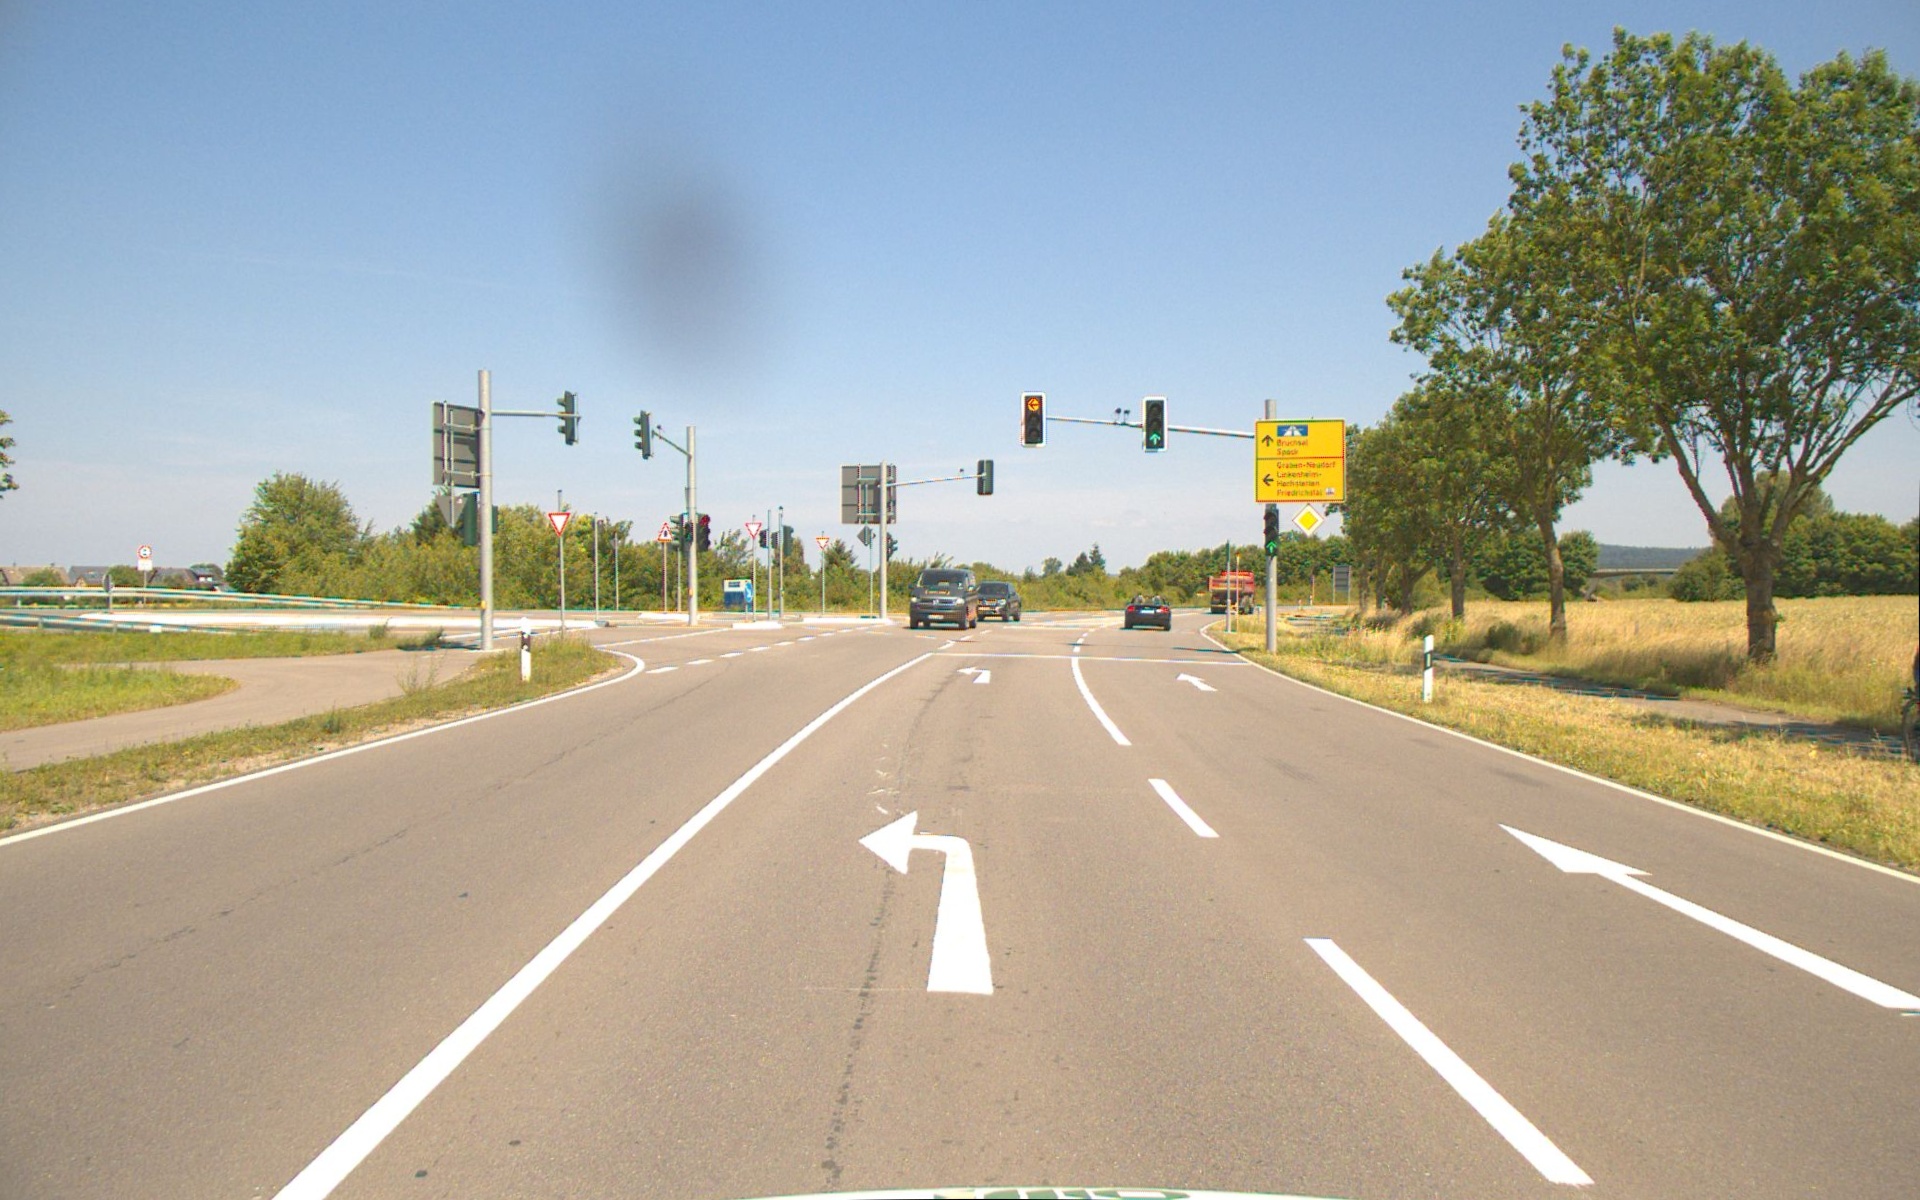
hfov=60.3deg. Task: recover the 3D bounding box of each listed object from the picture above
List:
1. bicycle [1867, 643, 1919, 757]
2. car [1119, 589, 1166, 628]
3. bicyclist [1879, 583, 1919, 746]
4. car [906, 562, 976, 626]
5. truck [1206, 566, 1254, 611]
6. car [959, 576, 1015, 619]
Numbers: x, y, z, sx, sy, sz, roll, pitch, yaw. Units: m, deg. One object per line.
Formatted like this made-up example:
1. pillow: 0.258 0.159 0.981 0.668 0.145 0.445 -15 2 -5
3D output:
1. bicycle: 10.739 1.111 18.220 0.592 1.197 2.053 3 0 9
2. car: 6.992 0.333 63.332 1.710 1.400 3.681 1 -1 7
3. bicyclist: 10.774 0.713 18.290 0.575 1.764 1.173 4 1 9
4. car: -0.576 -0.216 55.075 1.890 2.012 4.687 1 1 5
5. truck: 19.723 -0.760 120.442 2.656 3.106 8.170 0 -1 15
6. car: 1.203 -0.141 70.851 1.889 1.770 4.893 1 1 6
